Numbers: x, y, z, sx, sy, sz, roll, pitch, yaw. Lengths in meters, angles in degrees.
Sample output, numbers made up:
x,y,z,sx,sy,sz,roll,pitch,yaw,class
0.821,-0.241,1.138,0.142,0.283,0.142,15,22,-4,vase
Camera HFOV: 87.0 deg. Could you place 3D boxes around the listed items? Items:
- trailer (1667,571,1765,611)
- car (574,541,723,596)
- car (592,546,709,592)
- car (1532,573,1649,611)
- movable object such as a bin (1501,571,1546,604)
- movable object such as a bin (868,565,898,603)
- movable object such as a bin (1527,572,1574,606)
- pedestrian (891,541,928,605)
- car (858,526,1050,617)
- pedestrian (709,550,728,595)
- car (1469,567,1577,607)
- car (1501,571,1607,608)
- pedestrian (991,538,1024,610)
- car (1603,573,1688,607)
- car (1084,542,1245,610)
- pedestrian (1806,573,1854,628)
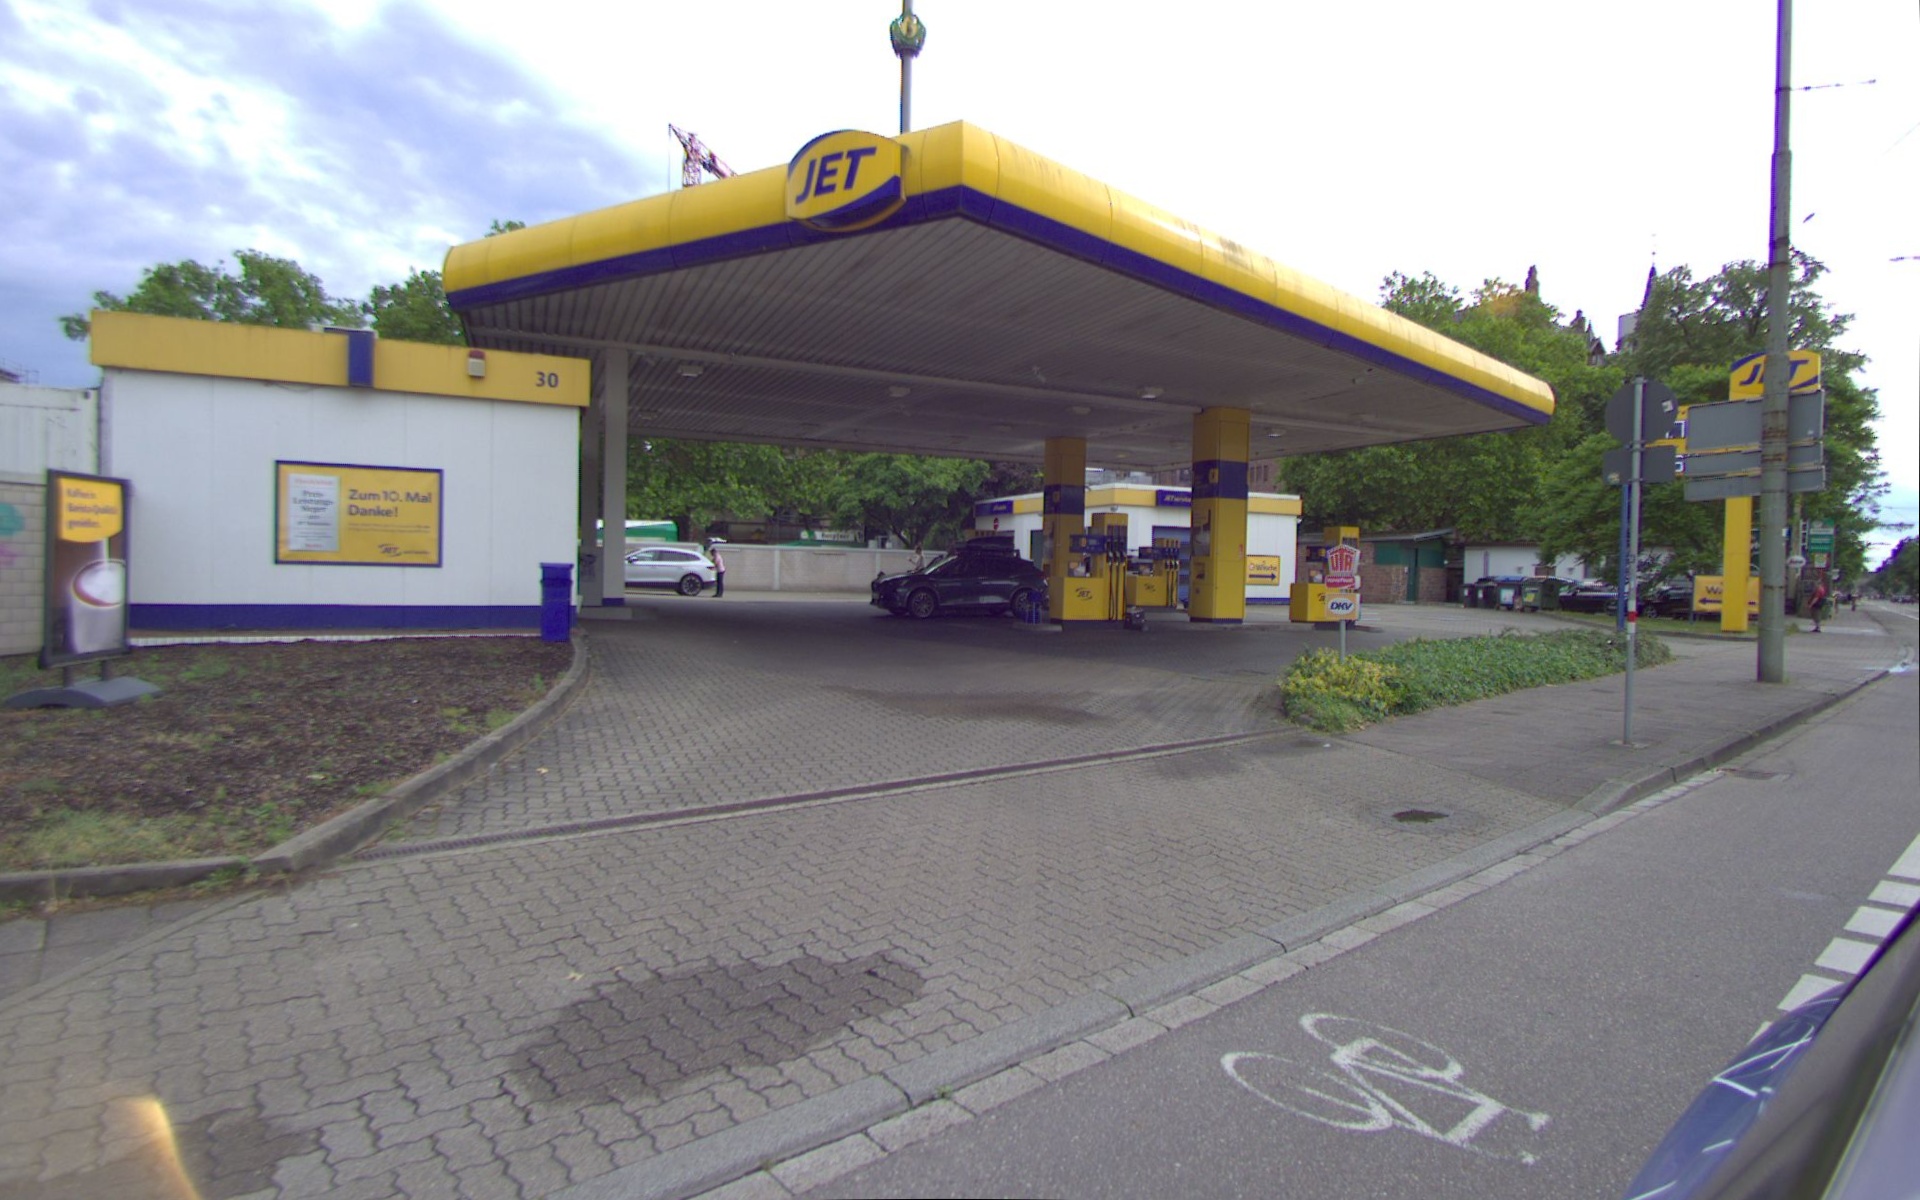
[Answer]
x,y,z,sx,sy,sz,roll,pitch,yaw,class
33.752,-0.453,45.229,3.283,1.549,1.747,4,6,43,trailer
-10.770,-1.082,34.966,4.662,1.616,1.946,2,1,-24,car
-12.720,-1.247,41.584,4.333,1.606,1.963,2,0,-23,car
26.680,-0.349,42.900,3.919,1.536,1.829,0,1,-7,car
23.274,-0.521,41.815,1.136,1.375,1.123,0,1,-13,movable object such as a bin
-2.281,-0.476,30.166,0.781,1.079,0.603,4,1,1,movable object such as a bin
23.703,-0.464,40.630,1.136,1.336,1.123,0,1,-13,movable object such as a bin
-1.495,-0.798,30.171,0.952,1.842,0.603,4,1,1,pedestrian
-0.143,-0.690,24.170,4.165,2.012,1.829,0,3,-23,car
-8.588,-0.968,35.983,0.539,1.563,0.500,2,0,-19,pedestrian
25.080,-0.579,45.142,3.942,1.716,1.815,0,1,-11,car
28.060,-0.512,47.842,3.987,1.687,1.969,1,1,44,car
1.215,-0.664,25.978,0.614,1.809,0.709,0,1,-19,pedestrian
27.155,-0.418,40.049,3.934,1.304,1.995,-1,2,-44,car
6.375,-0.759,31.623,4.432,1.865,1.993,2,3,-17,car
29.662,0.009,34.525,0.858,1.768,0.846,4,4,17,pedestrian
